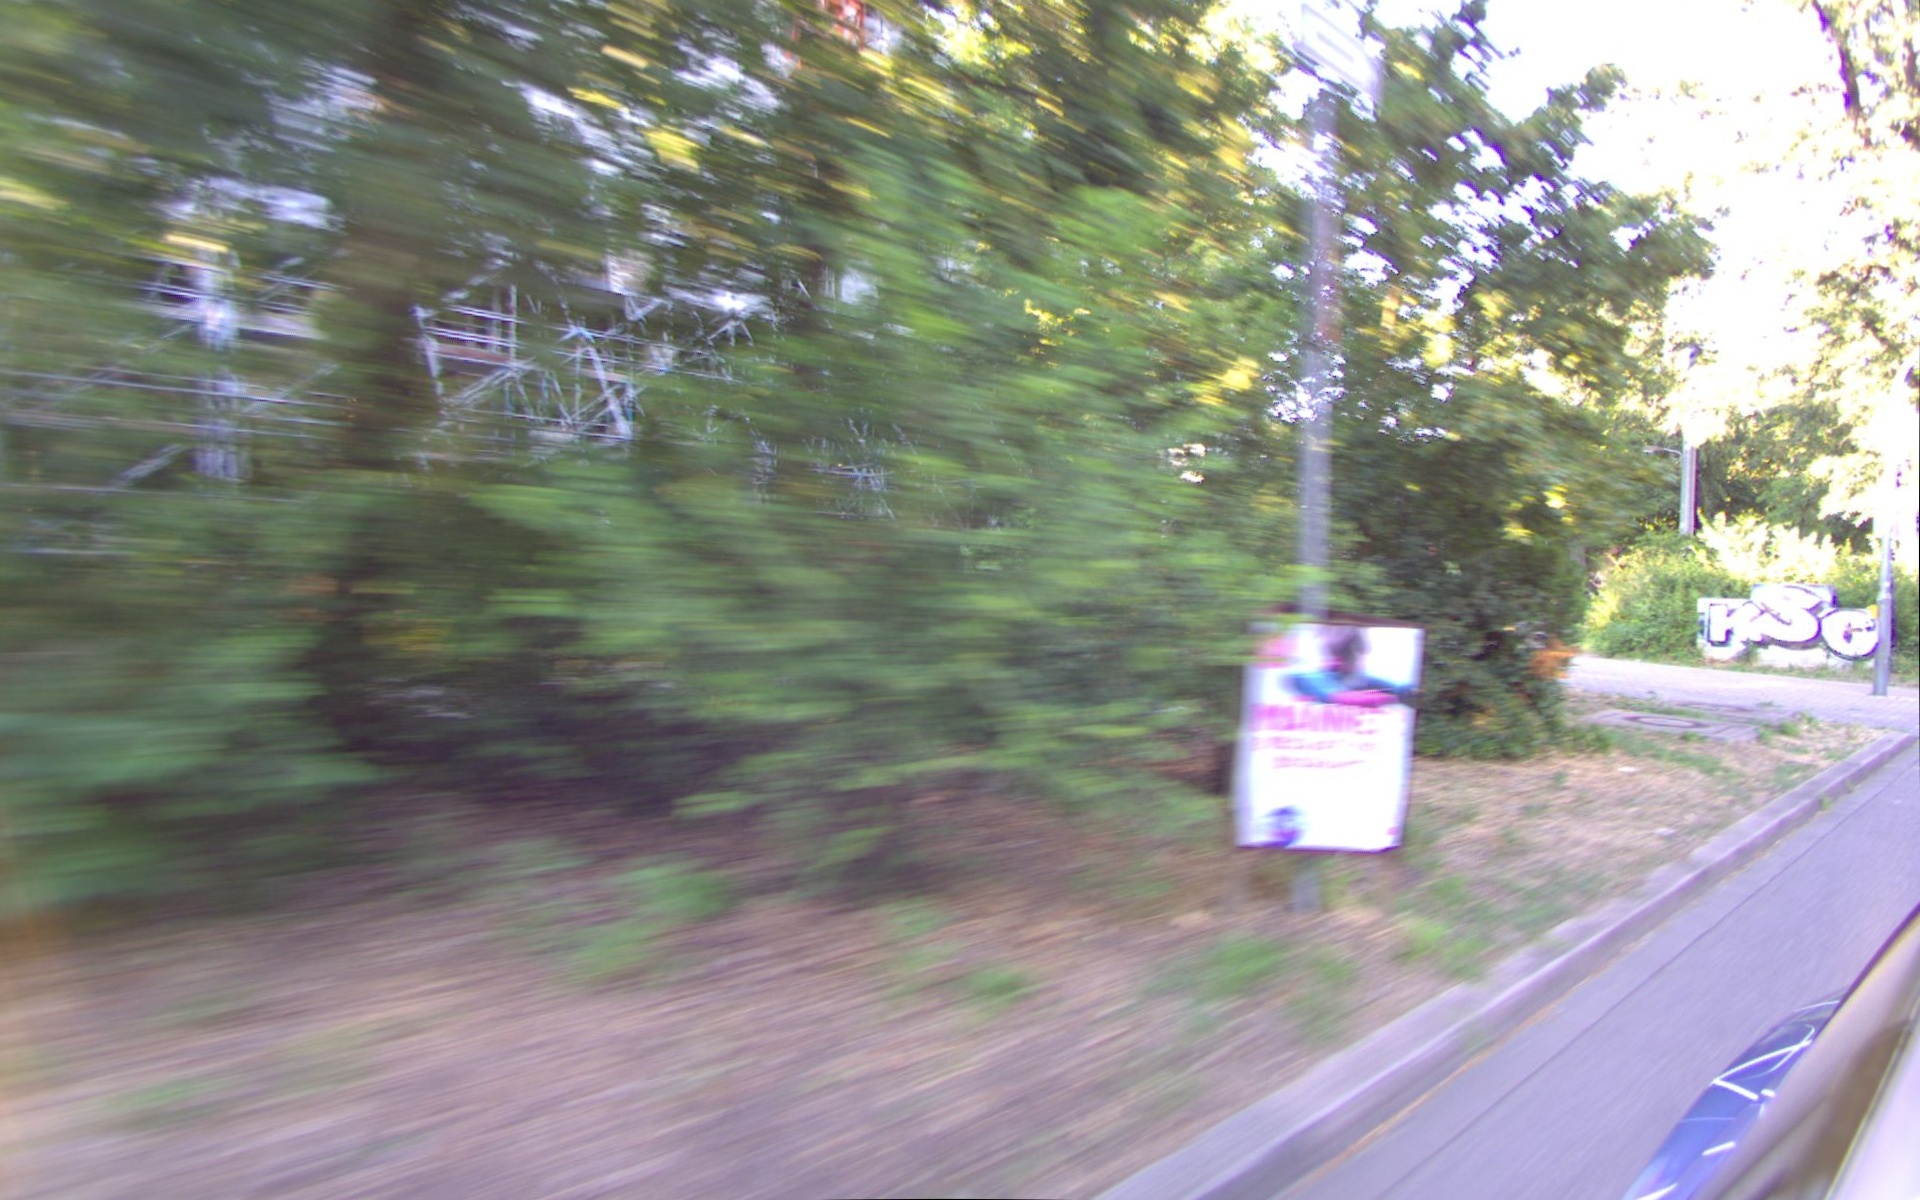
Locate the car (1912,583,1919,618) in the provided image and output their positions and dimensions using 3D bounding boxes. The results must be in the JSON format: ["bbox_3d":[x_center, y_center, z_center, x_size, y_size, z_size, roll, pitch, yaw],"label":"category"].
[{"bbox_3d":[43.571,0.172,43.142,1.800,1.492,4.129,-1,5,-42],"label":"car"}]

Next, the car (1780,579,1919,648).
[{"bbox_3d":[24.559,0.324,26.711,1.832,1.731,4.183,0,1,-36],"label":"car"}]

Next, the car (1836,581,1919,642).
[{"bbox_3d":[28.266,0.368,29.319,1.692,1.688,4.132,0,2,-40],"label":"car"}]

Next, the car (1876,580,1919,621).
[{"bbox_3d":[37.771,0.155,38.314,1.711,1.493,4.348,1,4,-41],"label":"car"}]
